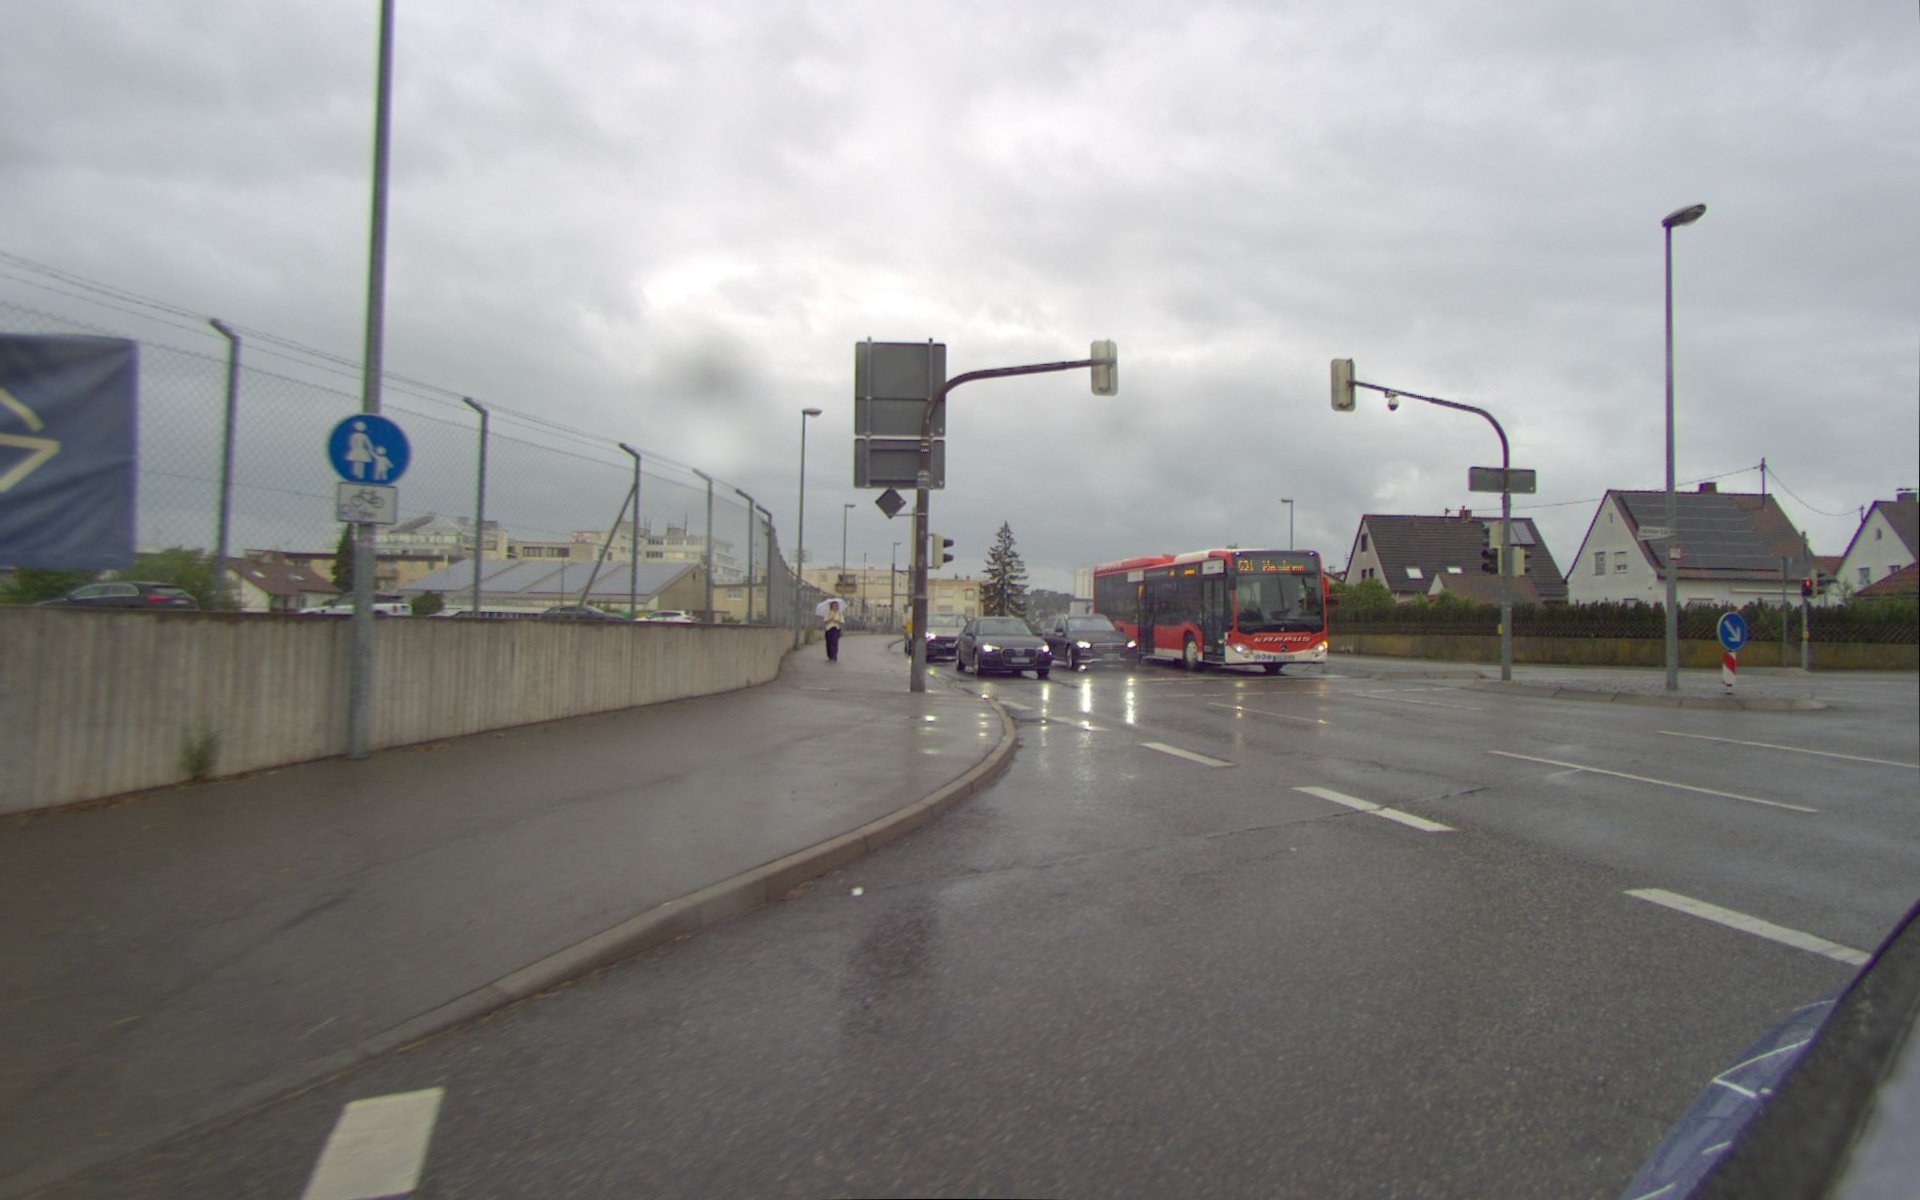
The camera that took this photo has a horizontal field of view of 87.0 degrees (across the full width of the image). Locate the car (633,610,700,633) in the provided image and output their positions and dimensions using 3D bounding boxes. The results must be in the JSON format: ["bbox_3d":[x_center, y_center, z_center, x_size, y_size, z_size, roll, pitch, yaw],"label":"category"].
[{"bbox_3d":[-20.055,1.462,69.300,3.932,1.563,1.995,0,-1,8],"label":"car"}]

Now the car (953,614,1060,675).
[{"bbox_3d":[1.051,1.040,25.159,1.788,1.372,4.399,1,-1,-9],"label":"car"}]

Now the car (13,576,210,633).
[{"bbox_3d":[-24.478,0.141,29.323,4.104,1.579,1.713,0,-1,-6],"label":"car"}]

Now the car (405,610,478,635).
[{"bbox_3d":[-35.384,1.524,69.112,3.926,1.639,1.998,0,-1,2],"label":"car"}]

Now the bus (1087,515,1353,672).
[{"bbox_3d":[6.799,0.093,29.517,2.925,3.623,12.304,0,-2,-8],"label":"bus"}]

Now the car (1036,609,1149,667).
[{"bbox_3d":[3.585,1.017,28.297,1.863,1.486,4.598,1,-1,-9],"label":"car"}]

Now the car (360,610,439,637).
[{"bbox_3d":[-35.643,1.506,64.453,3.926,1.639,1.998,0,-1,2],"label":"car"}]

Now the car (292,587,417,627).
[{"bbox_3d":[-25.018,0.292,41.944,4.104,1.579,1.713,0,-1,-6],"label":"car"}]

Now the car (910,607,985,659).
[{"bbox_3d":[-0.469,1.045,32.998,1.788,1.558,4.399,1,-1,-9],"label":"car"}]

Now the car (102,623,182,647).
[{"bbox_3d":[-56.055,2.378,69.374,3.922,1.561,1.847,0,-1,-2],"label":"car"}]

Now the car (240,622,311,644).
[{"bbox_3d":[-50.177,2.414,74.194,3.922,1.561,1.847,0,-1,-2],"label":"car"}]

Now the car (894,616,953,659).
[{"bbox_3d":[-1.496,1.433,39.762,1.788,1.558,4.399,1,-1,-9],"label":"car"}]

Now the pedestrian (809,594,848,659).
[{"bbox_3d":[-3.504,0.692,26.891,0.852,1.631,0.875,4,-2,-12],"label":"pedestrian"}]
